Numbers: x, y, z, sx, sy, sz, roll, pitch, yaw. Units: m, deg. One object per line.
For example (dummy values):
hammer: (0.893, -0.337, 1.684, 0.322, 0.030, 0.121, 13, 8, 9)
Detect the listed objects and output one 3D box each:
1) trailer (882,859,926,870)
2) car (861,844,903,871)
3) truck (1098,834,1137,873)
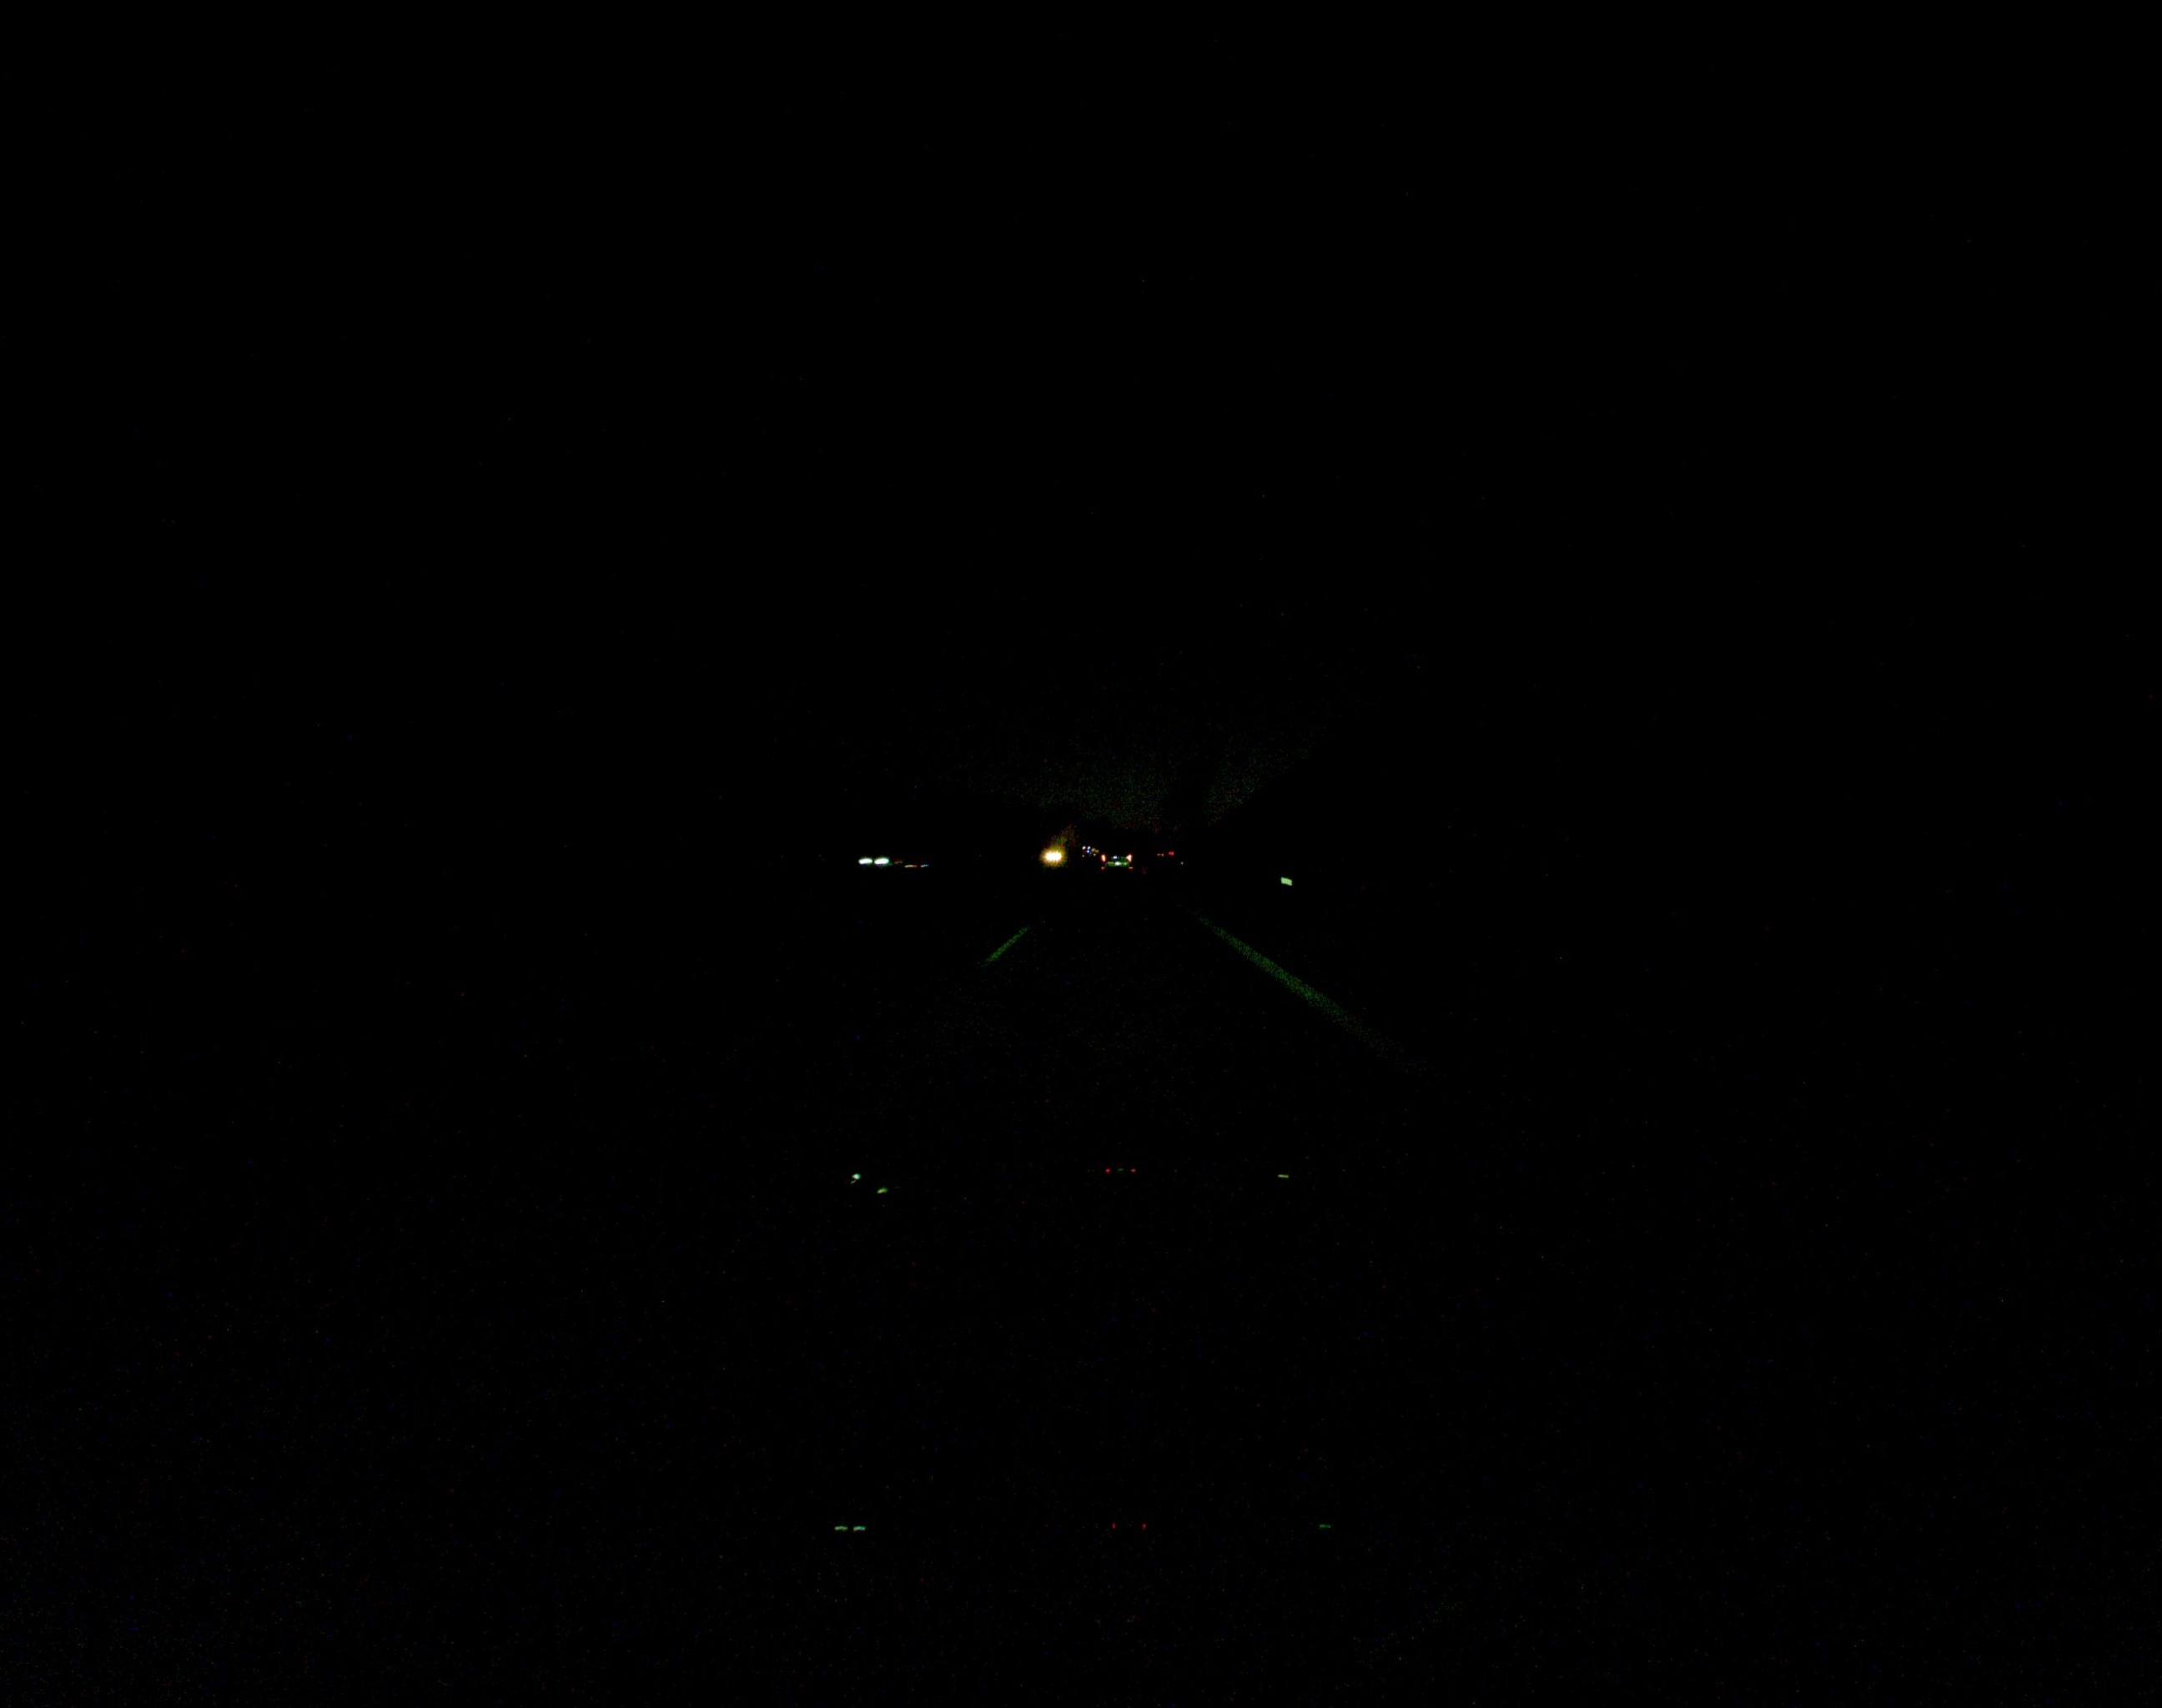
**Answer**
trailer: (-18.610, 1.099, 86.106, 2.404, 1.104, 8.086, -1, 0, 4)
car: (-19.237, 0.360, 78.977, 2.072, 2.487, 6.251, -1, 0, 5)
truck: (2.542, -0.017, 59.827, 2.621, 2.624, 8.686, -1, 0, 1)
